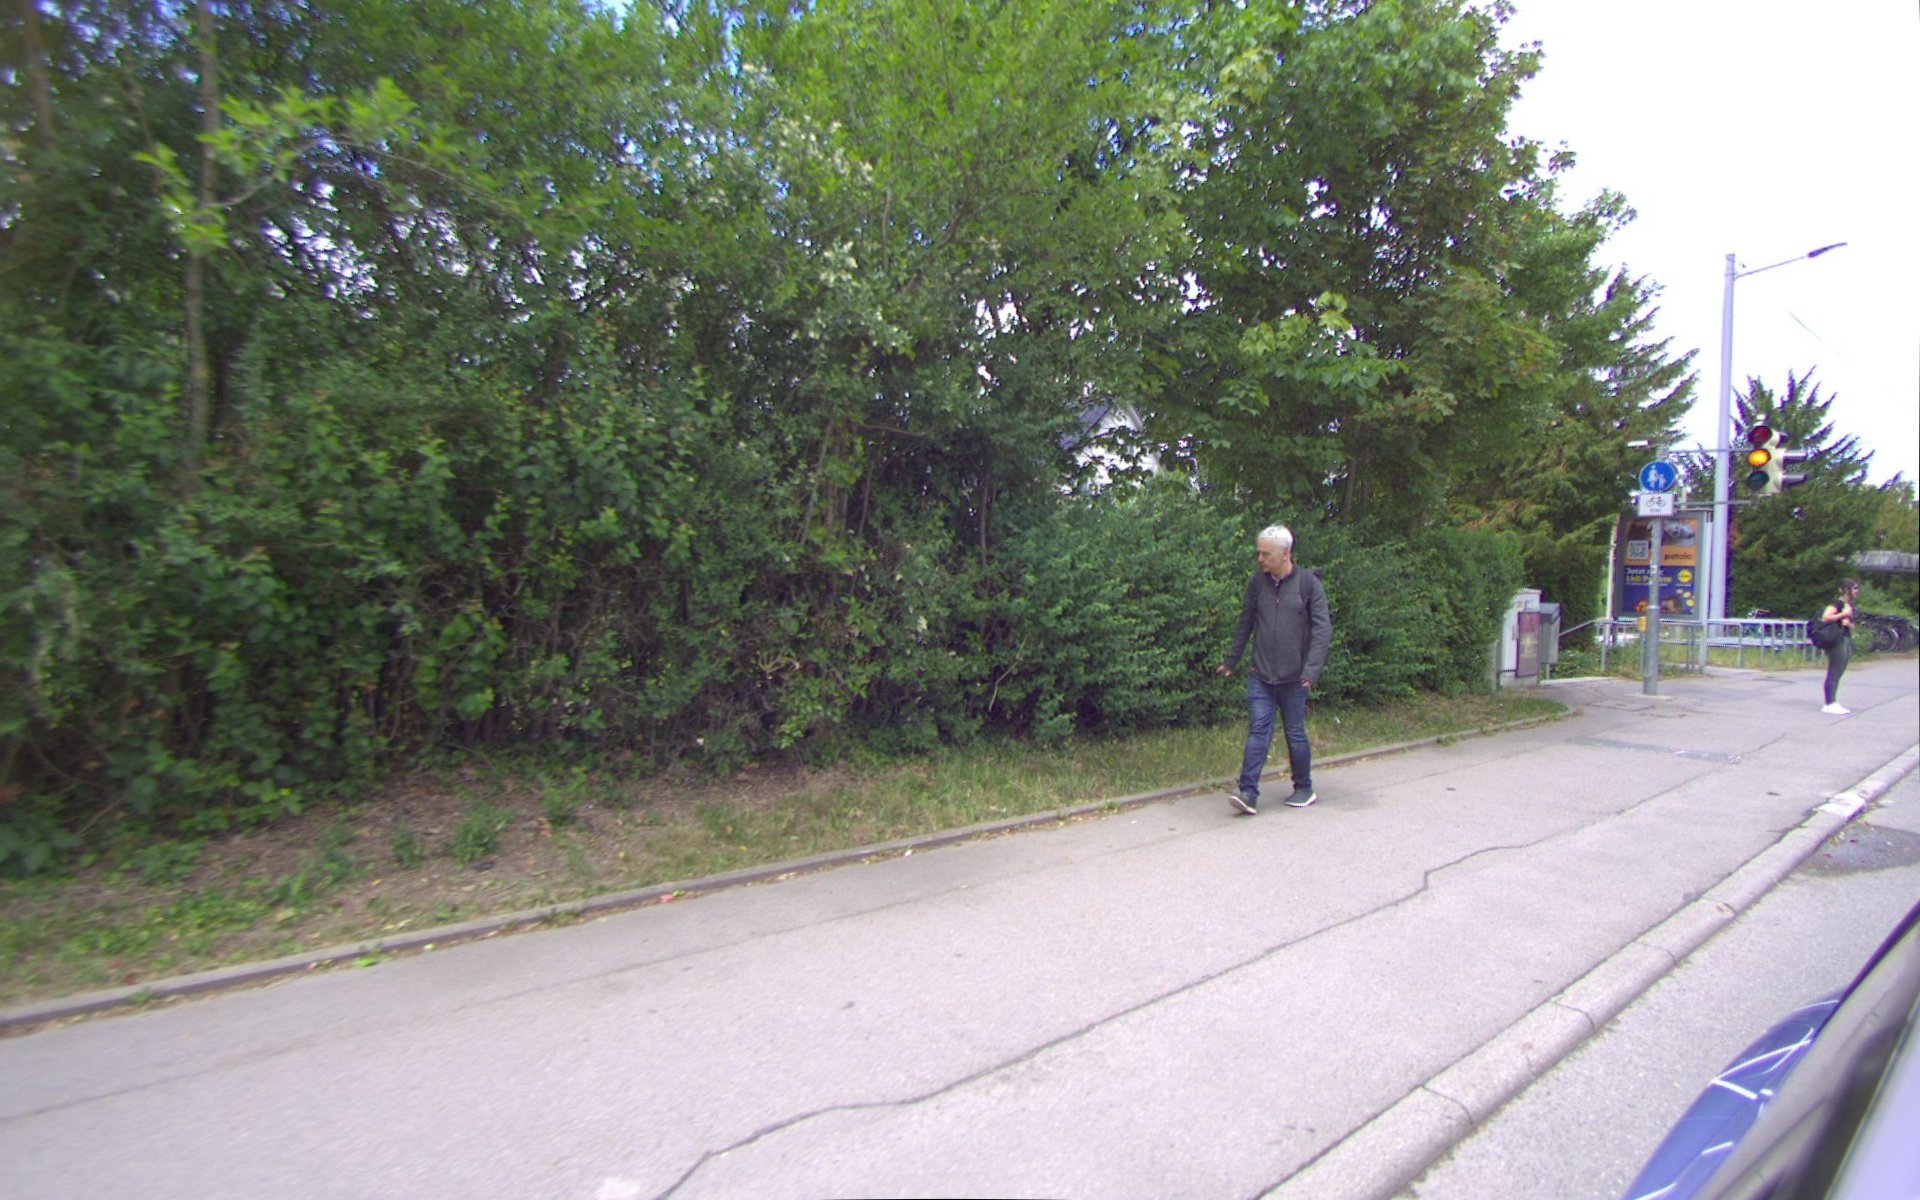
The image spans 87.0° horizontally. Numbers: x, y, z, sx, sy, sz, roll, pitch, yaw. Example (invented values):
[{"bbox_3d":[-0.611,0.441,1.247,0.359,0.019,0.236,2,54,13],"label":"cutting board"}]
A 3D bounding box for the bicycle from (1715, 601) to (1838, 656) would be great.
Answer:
[{"bbox_3d":[18.689,0.636,23.206,0.536,1.094,2.095,0,3,-37],"label":"bicycle"}]

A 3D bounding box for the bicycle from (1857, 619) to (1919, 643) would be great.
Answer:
[{"bbox_3d":[27.073,0.899,29.270,1.674,0.647,0.327,1,1,40],"label":"bicycle"}]

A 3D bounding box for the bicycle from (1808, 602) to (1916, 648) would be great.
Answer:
[{"bbox_3d":[25.636,0.684,28.799,0.443,1.060,2.206,0,5,-41],"label":"bicycle"}]

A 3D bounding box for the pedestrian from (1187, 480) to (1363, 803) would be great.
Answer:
[{"bbox_3d":[2.012,0.237,6.490,0.786,1.906,0.748,0,0,-34],"label":"pedestrian"}]

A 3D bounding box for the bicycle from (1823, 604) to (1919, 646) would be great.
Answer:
[{"bbox_3d":[26.106,0.685,28.874,0.443,1.060,2.209,0,2,-34],"label":"bicycle"}]

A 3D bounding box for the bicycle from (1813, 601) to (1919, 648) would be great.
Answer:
[{"bbox_3d":[24.633,0.652,27.542,0.521,1.165,2.092,0,2,-42],"label":"bicycle"}]

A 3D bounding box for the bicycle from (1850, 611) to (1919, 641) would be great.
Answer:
[{"bbox_3d":[28.285,0.788,30.540,0.442,0.836,2.084,0,1,-34],"label":"bicycle"}]

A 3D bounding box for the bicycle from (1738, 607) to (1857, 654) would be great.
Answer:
[{"bbox_3d":[19.824,0.704,23.997,0.548,1.061,2.094,0,0,-37],"label":"bicycle"}]

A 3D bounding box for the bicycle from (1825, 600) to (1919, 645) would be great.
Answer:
[{"bbox_3d":[26.414,0.625,29.160,0.443,1.163,2.209,0,2,-34],"label":"bicycle"}]

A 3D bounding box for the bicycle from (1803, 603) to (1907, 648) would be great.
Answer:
[{"bbox_3d":[23.962,0.656,27.142,0.441,1.060,2.101,0,3,-19],"label":"bicycle"}]

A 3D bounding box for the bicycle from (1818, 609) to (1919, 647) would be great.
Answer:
[{"bbox_3d":[25.072,0.747,27.825,0.444,0.950,2.203,0,1,-42],"label":"bicycle"}]

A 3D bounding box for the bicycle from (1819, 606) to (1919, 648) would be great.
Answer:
[{"bbox_3d":[25.382,0.739,28.166,0.443,1.060,2.204,0,2,-41],"label":"bicycle"}]

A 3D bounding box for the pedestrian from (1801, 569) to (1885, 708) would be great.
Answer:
[{"bbox_3d":[11.141,0.459,12.768,0.695,1.685,0.650,0,0,-35],"label":"pedestrian"}]

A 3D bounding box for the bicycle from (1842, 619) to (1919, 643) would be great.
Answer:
[{"bbox_3d":[27.139,0.894,29.607,1.979,0.647,0.327,1,1,40],"label":"bicycle"}]

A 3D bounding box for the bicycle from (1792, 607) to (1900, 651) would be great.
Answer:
[{"bbox_3d":[23.237,0.737,26.584,0.443,1.060,2.091,0,1,-42],"label":"bicycle"}]

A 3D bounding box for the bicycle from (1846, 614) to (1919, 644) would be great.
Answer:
[{"bbox_3d":[27.762,0.861,30.167,0.443,0.836,1.994,0,1,-39],"label":"bicycle"}]

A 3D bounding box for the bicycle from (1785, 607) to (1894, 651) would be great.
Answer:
[{"bbox_3d":[22.790,0.723,26.269,0.443,1.060,2.091,0,1,-42],"label":"bicycle"}]
